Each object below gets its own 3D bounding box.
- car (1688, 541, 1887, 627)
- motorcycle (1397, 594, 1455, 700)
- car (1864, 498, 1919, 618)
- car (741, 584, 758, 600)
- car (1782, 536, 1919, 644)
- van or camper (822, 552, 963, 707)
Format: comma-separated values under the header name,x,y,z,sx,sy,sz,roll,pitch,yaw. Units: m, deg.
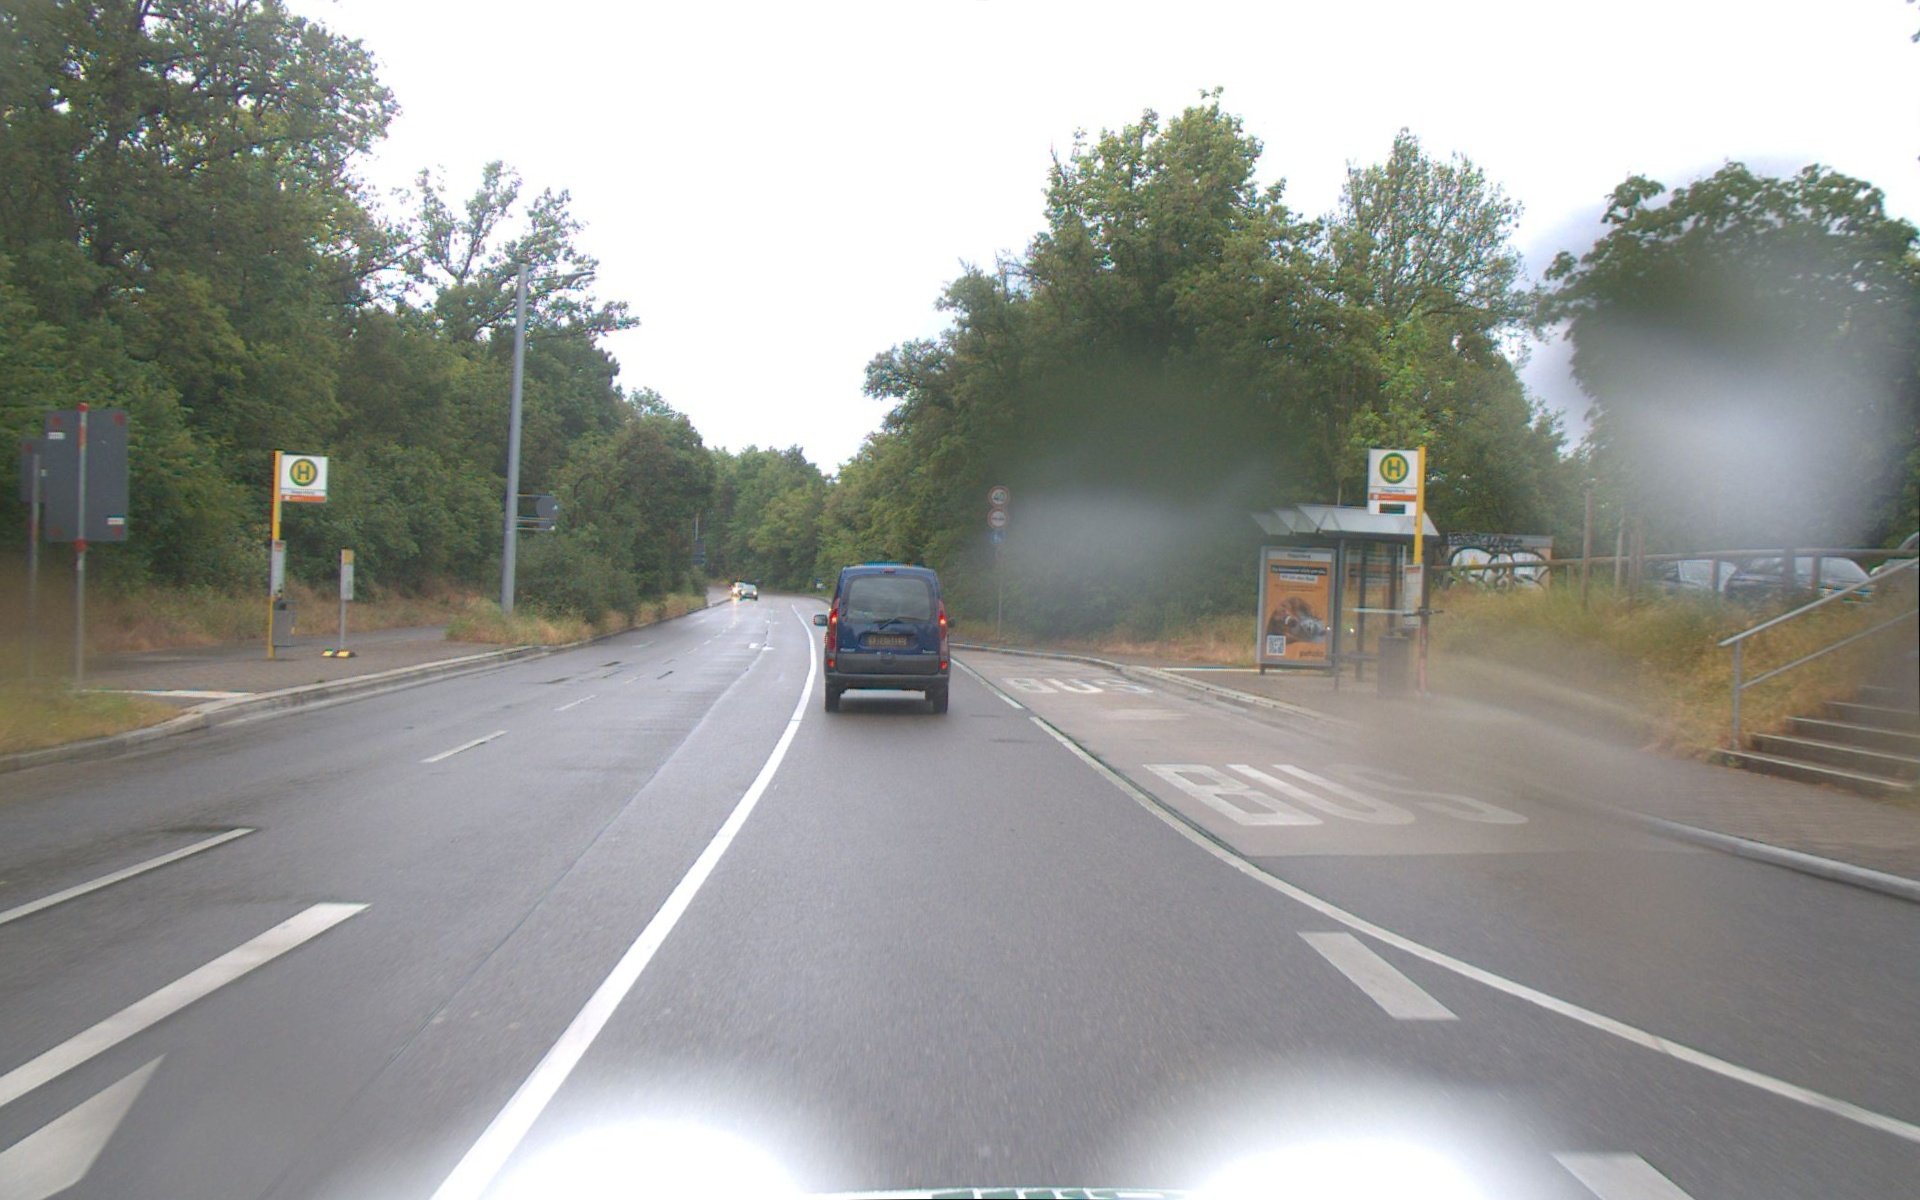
name,x,y,z,sx,sy,sz,roll,pitch,yaw
car,16.976,-0.276,34.225,1.846,1.505,4.783,4,-1,3
motorcycle,6.024,0.589,21.440,0.576,1.311,1.539,2,0,12
car,13.467,-0.507,20.557,1.954,1.505,4.283,4,-1,-1
car,-20.135,-0.755,158.186,1.568,1.466,3.985,1,1,-7
car,16.602,-0.126,29.210,1.953,1.690,4.474,5,0,2
van or camper,-0.957,0.371,22.198,1.679,1.858,3.997,1,-1,-4
